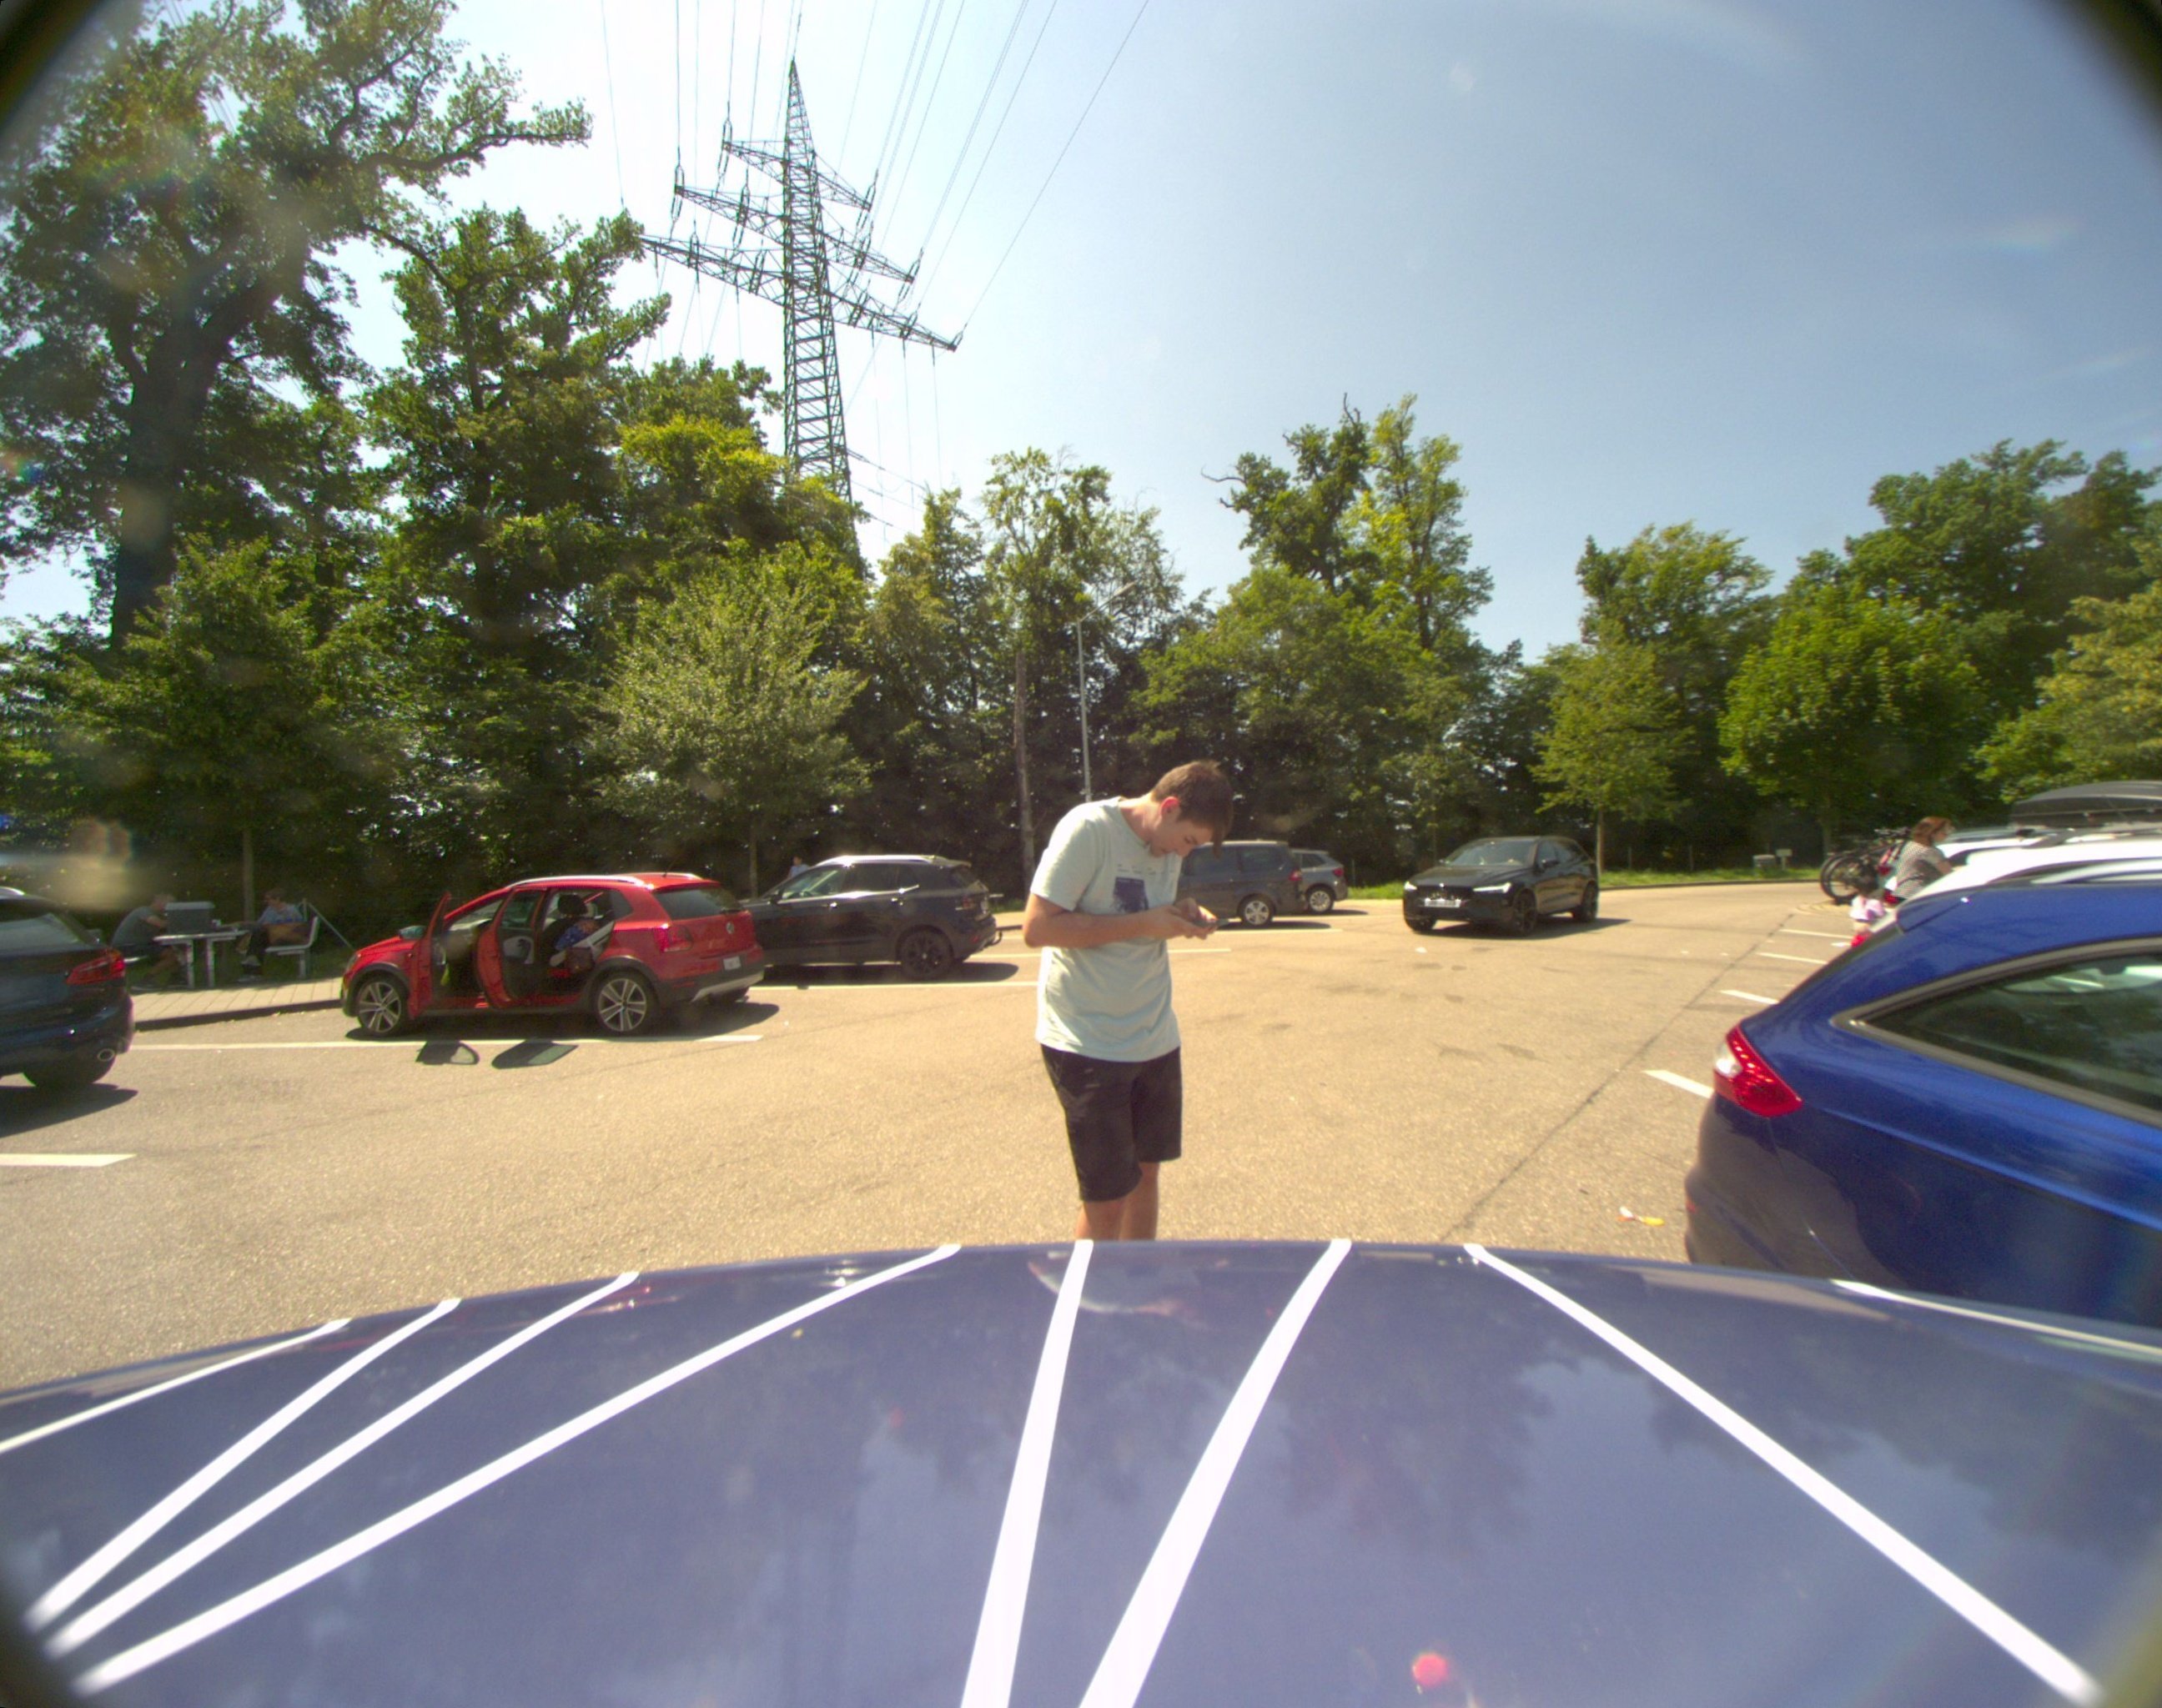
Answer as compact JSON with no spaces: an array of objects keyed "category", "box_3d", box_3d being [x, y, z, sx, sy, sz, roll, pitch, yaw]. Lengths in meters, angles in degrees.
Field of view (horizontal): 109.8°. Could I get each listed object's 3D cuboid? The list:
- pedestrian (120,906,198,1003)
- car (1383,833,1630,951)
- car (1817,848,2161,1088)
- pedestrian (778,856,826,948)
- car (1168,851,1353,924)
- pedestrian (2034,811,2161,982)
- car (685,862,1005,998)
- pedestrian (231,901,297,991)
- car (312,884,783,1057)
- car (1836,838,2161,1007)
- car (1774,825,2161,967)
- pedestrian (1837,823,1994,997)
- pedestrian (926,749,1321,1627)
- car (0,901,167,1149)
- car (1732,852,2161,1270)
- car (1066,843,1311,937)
[{"category":"pedestrian","box_3d":[-12.628,1.357,10.426,0.695,1.228,0.588,-3,0,43]},{"category":"car","box_3d":[7.693,0.545,13.598,4.625,1.703,1.995,-2,1,-35]},{"category":"car","box_3d":[7.481,0.677,4.505,1.776,1.418,4.495,-3,-1,-1]},{"category":"pedestrian","box_3d":[-5.751,0.973,15.680,0.767,1.821,0.519,-3,1,-32]},{"category":"car","box_3d":[4.145,0.749,18.001,3.996,1.495,1.687,-2,1,3]},{"category":"pedestrian","box_3d":[10.926,0.433,8.153,0.677,1.722,0.831,-2,1,-40]},{"category":"car","box_3d":[-3.029,0.959,10.304,3.732,1.578,1.739,-2,0,2]},{"category":"pedestrian","box_3d":[-11.947,1.323,11.115,0.695,1.228,0.588,-3,0,43]},{"category":"car","box_3d":[-5.185,1.103,7.626,3.730,1.440,1.591,-2,0,7]},{"category":"car","box_3d":[10.113,0.573,6.892,1.777,1.418,4.493,-3,-1,-5]},{"category":"car","box_3d":[12.544,0.478,10.364,1.777,1.541,4.493,-3,-1,-5]},{"category":"pedestrian","box_3d":[8.481,0.540,7.748,0.676,1.653,0.833,-2,0,-13]},{"category":"pedestrian","box_3d":[0.064,0.735,2.089,0.861,1.940,0.688,-2,1,-10]},{"category":"car","box_3d":[-8.880,1.176,4.981,3.934,1.534,1.812,-2,0,7]},{"category":"car","box_3d":[4.878,0.747,2.346,1.776,1.491,4.495,-3,-1,-1]},{"category":"car","box_3d":[2.142,0.719,15.462,4.619,1.701,1.740,-2,0,9]}]
